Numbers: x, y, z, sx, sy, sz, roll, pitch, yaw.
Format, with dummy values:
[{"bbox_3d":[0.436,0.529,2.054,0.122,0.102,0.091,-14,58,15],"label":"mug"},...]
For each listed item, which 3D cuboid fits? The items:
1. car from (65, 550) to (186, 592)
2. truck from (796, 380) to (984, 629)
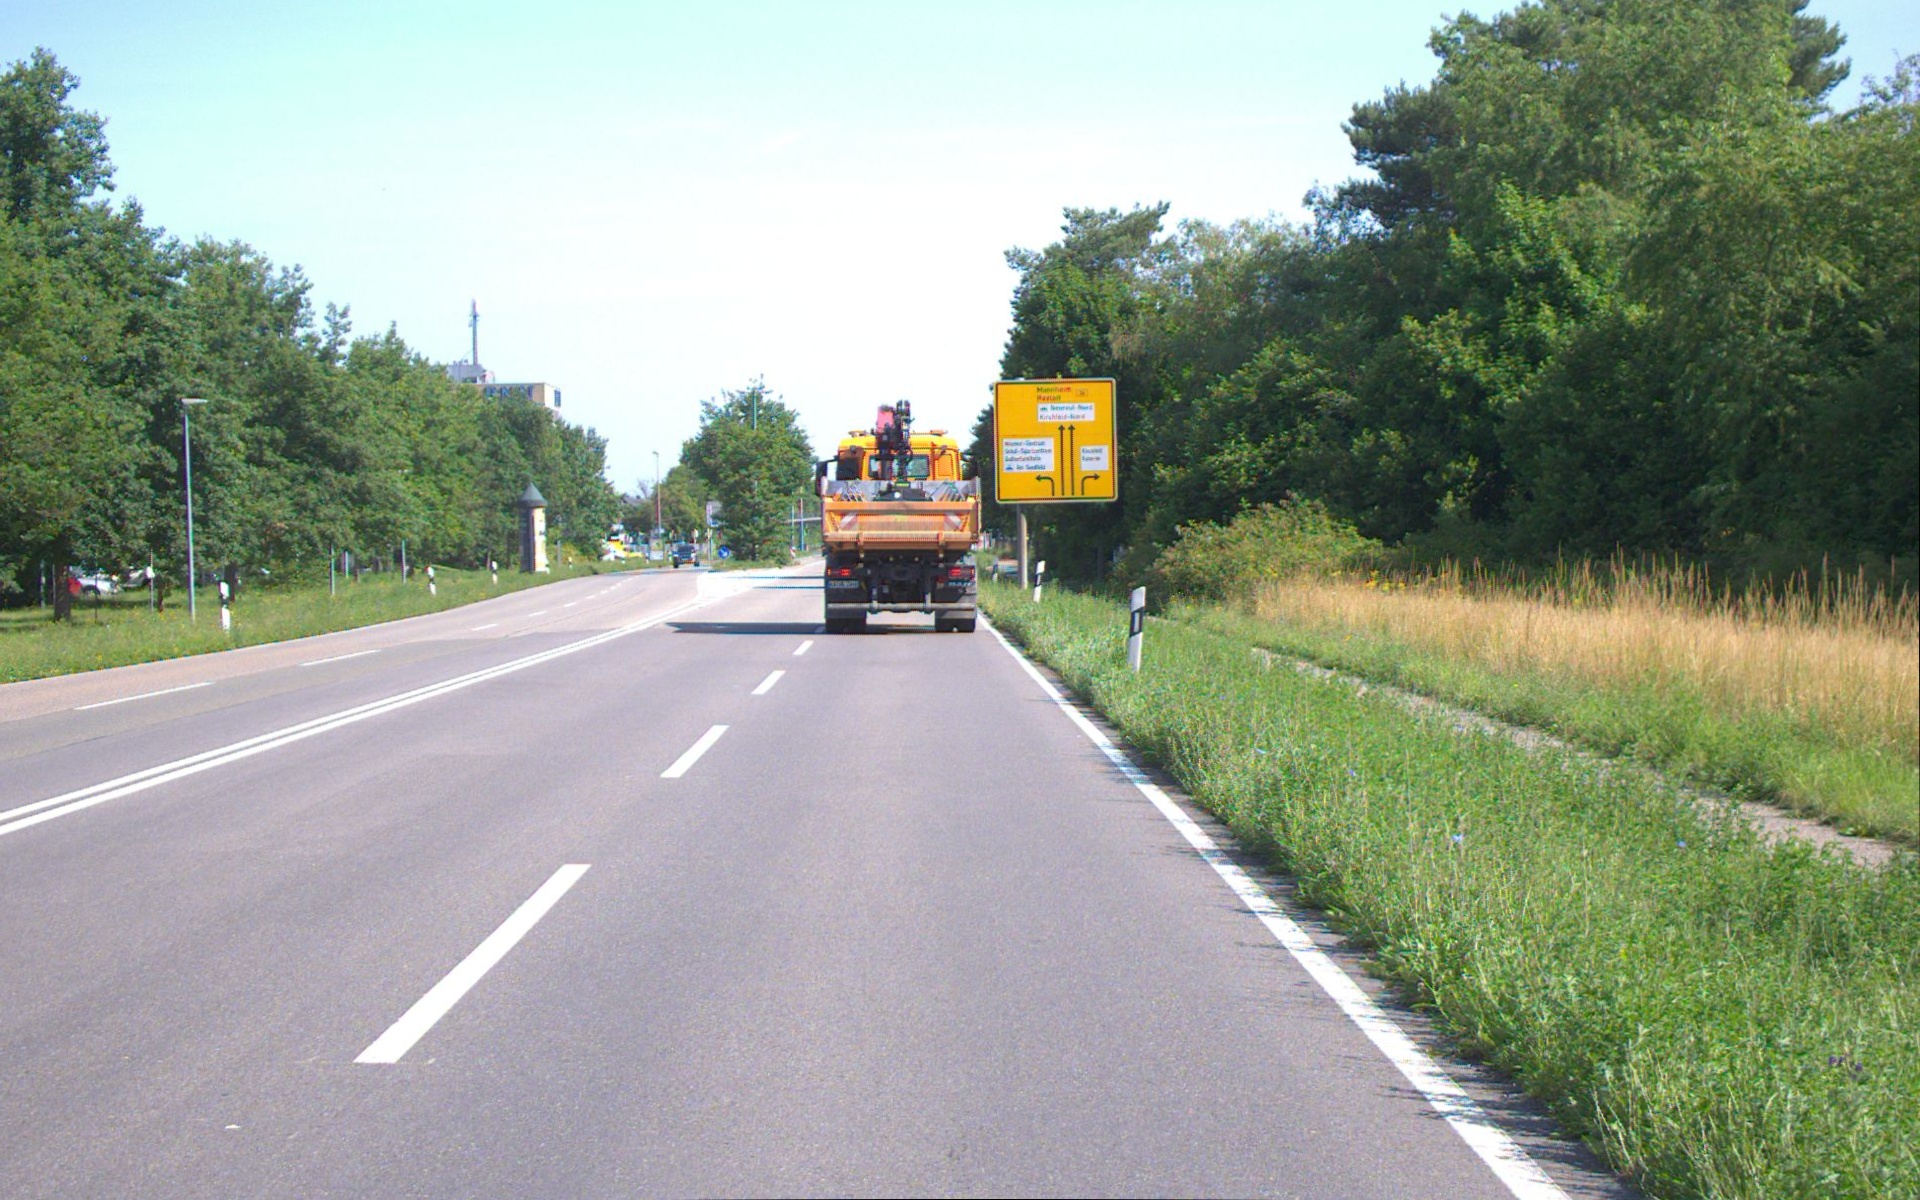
[{"bbox_3d":[-35.056,-1.240,144.489,4.594,1.644,2.000,-1,1,-1],"label":"car"},{"bbox_3d":[-1.277,-1.580,57.994,2.871,3.867,7.401,1,1,-3],"label":"truck"}]
